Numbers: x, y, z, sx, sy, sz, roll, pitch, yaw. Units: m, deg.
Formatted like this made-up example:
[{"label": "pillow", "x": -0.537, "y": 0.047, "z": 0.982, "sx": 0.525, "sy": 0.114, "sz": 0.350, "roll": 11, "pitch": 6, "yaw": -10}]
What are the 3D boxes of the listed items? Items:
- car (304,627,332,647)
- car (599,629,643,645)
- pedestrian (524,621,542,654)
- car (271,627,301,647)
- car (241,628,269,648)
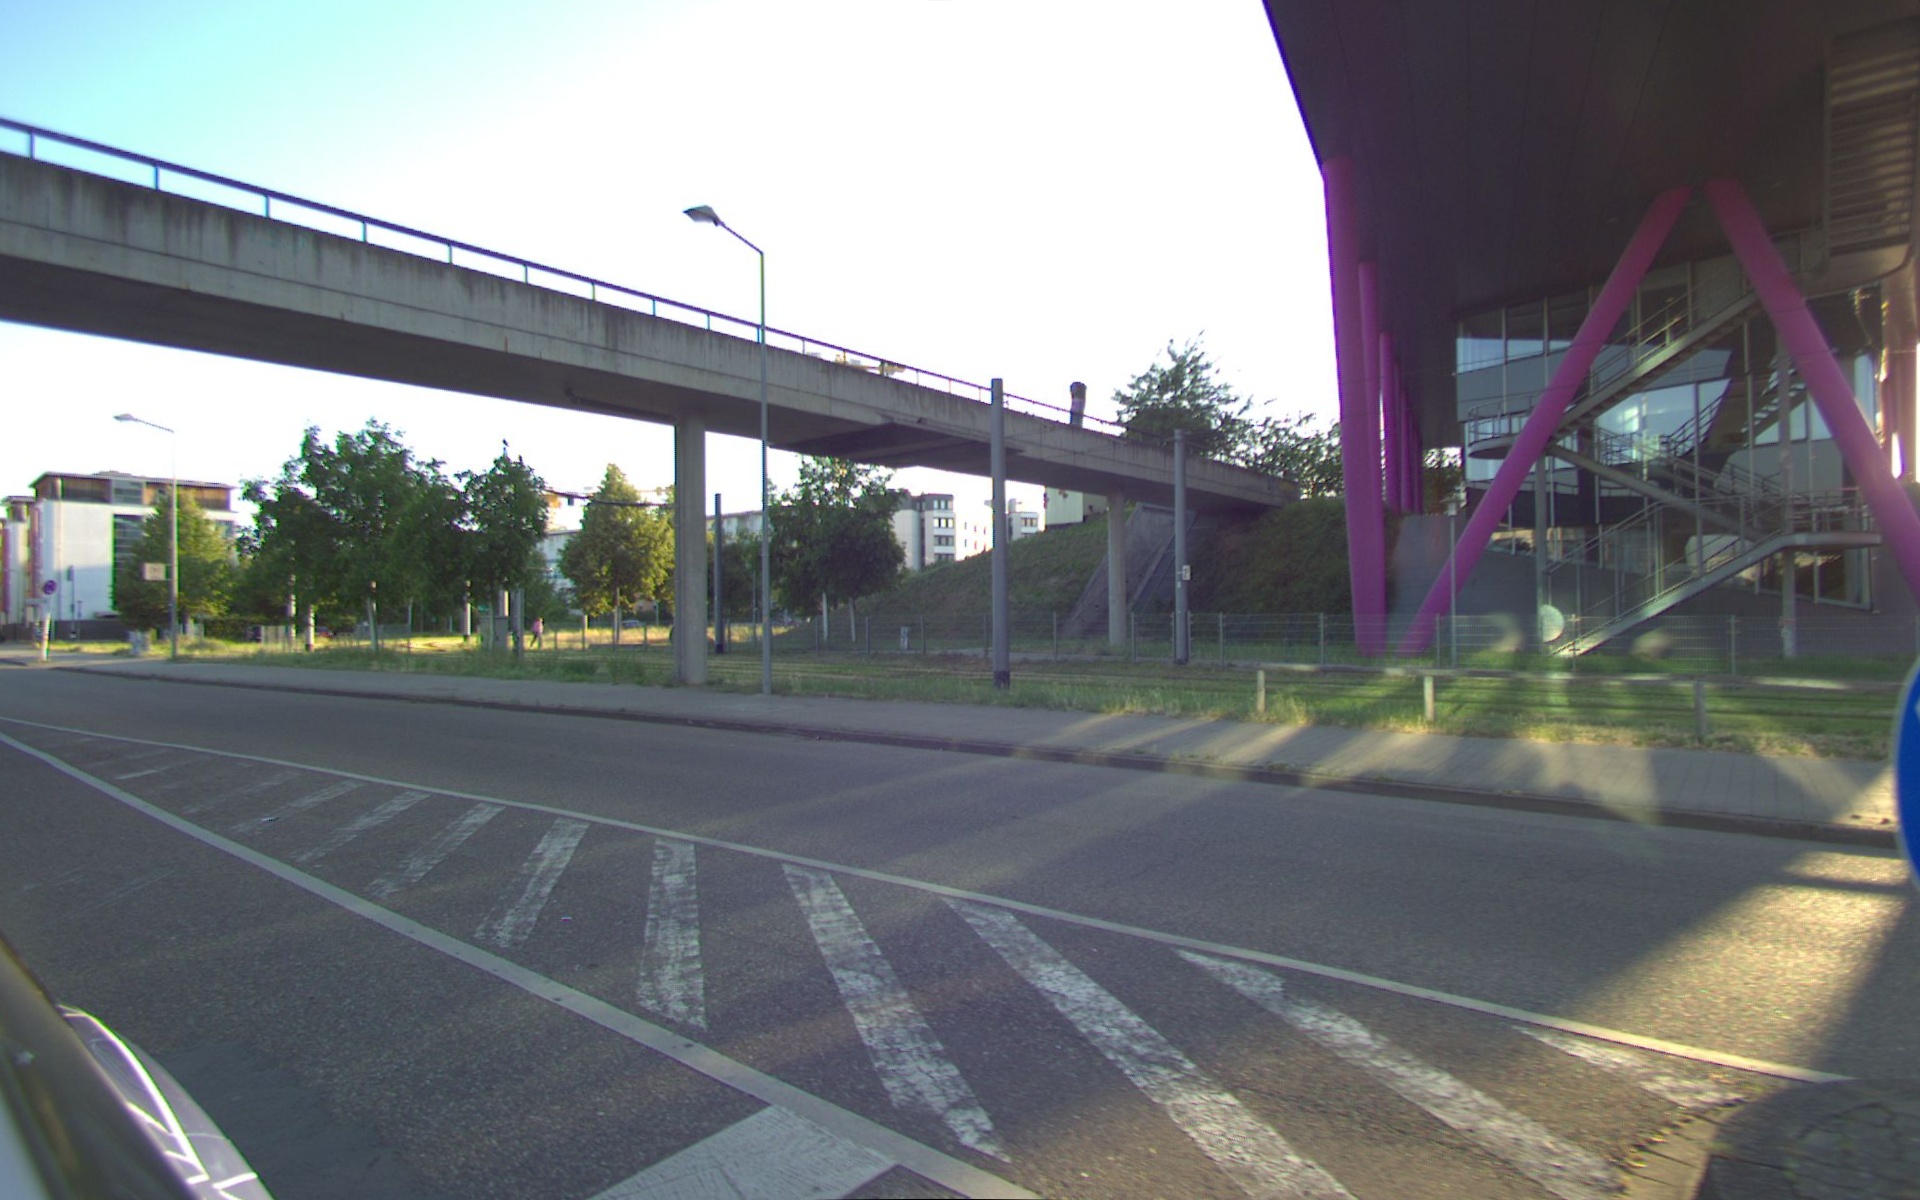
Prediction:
[{"label": "car", "x": -59.026, "y": 3.369, "z": 93.034, "sx": 1.842, "sy": 1.734, "sz": 3.852, "roll": 0, "pitch": -2, "yaw": -38}, {"label": "car", "x": -35.715, "y": 3.895, "z": 106.646, "sx": 3.939, "sy": 1.575, "sz": 2.002, "roll": 0, "pitch": -2, "yaw": -43}, {"label": "pedestrian", "x": -21.610, "y": 1.901, "z": 51.219, "sx": 0.767, "sy": 1.623, "sz": 0.417, "roll": 0, "pitch": -2, "yaw": -38}, {"label": "car", "x": -60.819, "y": 3.361, "z": 91.304, "sx": 1.843, "sy": 1.734, "sz": 3.851, "roll": 0, "pitch": -2, "yaw": -40}, {"label": "car", "x": -62.573, "y": 3.360, "z": 89.757, "sx": 1.842, "sy": 1.734, "sz": 3.853, "roll": 0, "pitch": -2, "yaw": -38}]
